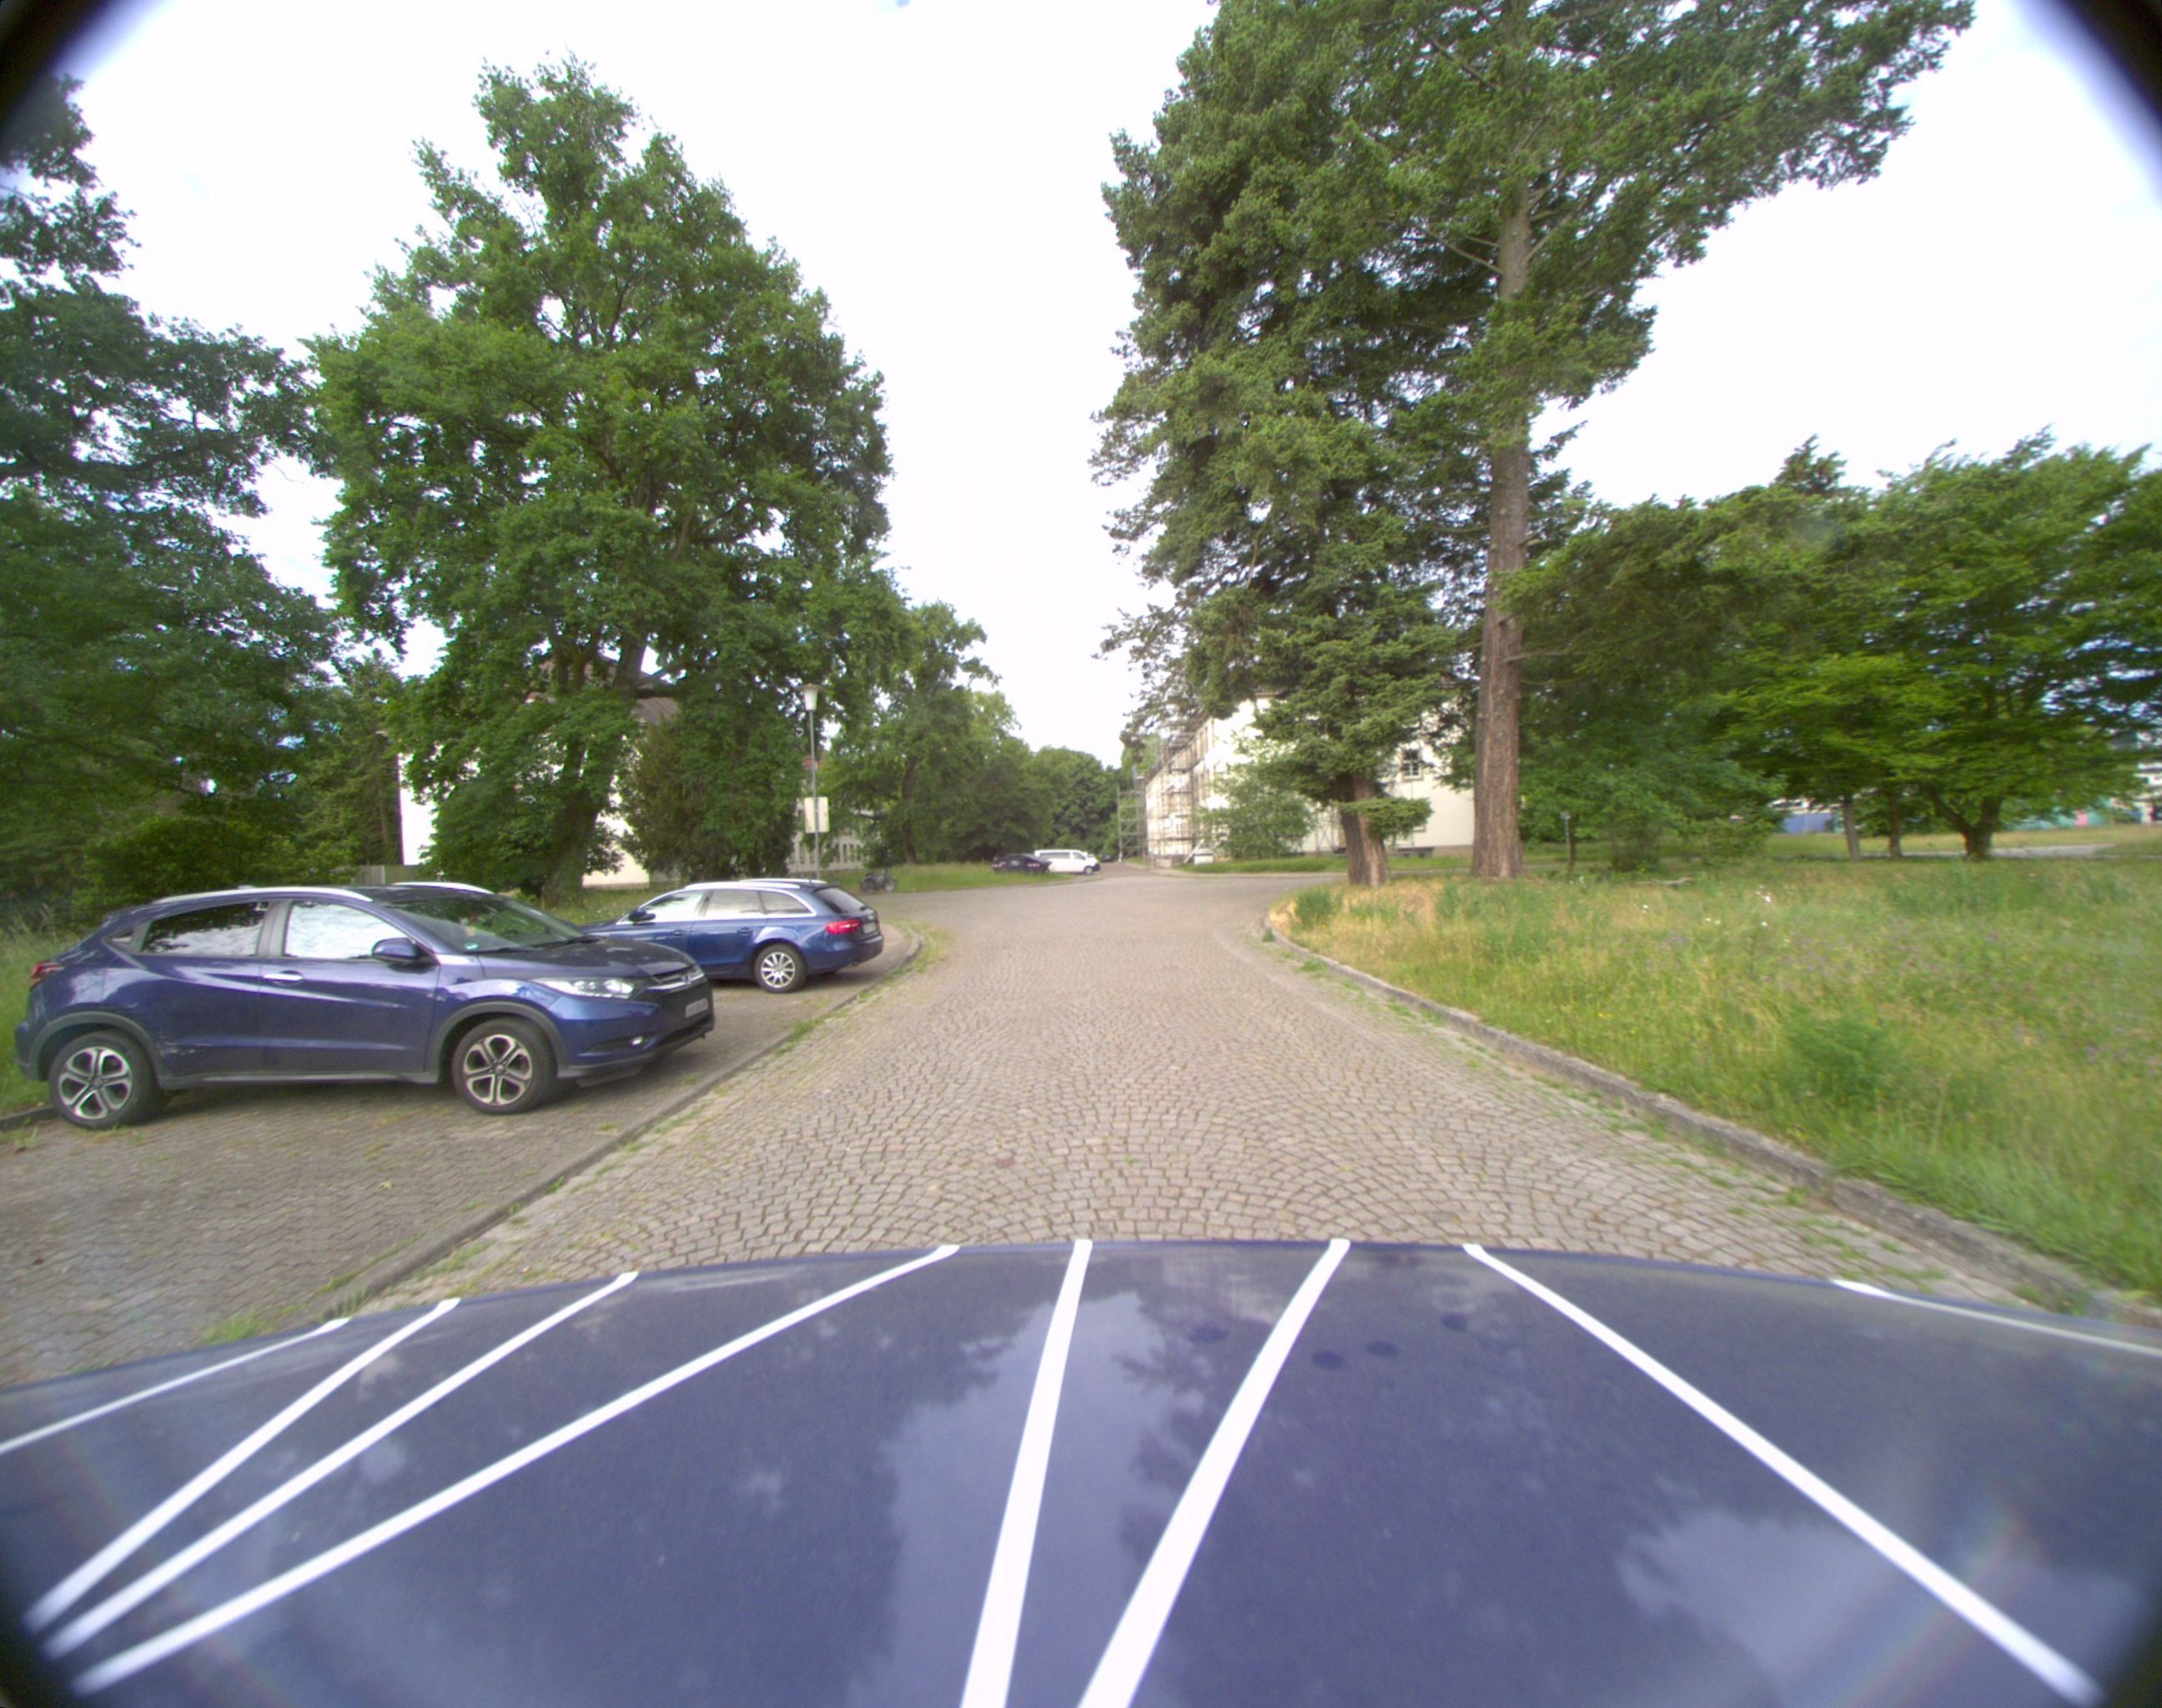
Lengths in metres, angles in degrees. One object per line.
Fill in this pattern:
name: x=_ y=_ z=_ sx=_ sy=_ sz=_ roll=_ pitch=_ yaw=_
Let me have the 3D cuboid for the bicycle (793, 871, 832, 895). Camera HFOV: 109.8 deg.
bicycle: x=-14.621 y=1.559 z=41.411 sx=1.862 sy=1.163 sz=0.487 roll=-3 pitch=1 yaw=-29

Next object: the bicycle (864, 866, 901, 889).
bicycle: x=-11.339 y=1.341 z=43.457 sx=1.941 sy=1.163 sz=0.487 roll=-5 pitch=1 yaw=-22

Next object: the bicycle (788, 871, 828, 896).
bicycle: x=-14.355 y=1.557 z=39.932 sx=1.862 sy=1.163 sz=0.487 roll=-3 pitch=1 yaw=-25

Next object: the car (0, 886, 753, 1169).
car: x=-5.102 y=1.163 z=5.869 sx=4.256 sy=1.613 sz=1.886 roll=-2 pitch=1 yaw=-1

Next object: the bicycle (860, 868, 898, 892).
bicycle: x=-11.404 y=1.443 z=42.847 sx=1.941 sy=1.163 sz=0.487 roll=-5 pitch=1 yaw=-22

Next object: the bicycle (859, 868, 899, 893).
bicycle: x=-10.807 y=1.426 z=40.597 sx=1.941 sy=1.163 sz=0.487 roll=-5 pitch=1 yaw=-25

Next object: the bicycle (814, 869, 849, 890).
bicycle: x=-14.423 y=1.479 z=43.931 sx=1.860 sy=1.163 sz=0.488 roll=-1 pitch=0 yaw=-9

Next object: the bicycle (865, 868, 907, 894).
bicycle: x=-10.182 y=1.393 z=39.677 sx=1.942 sy=1.163 sz=0.487 roll=-5 pitch=1 yaw=-27

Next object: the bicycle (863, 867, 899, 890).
bicycle: x=-11.768 y=1.448 z=44.699 sx=1.940 sy=1.163 sz=0.537 roll=-4 pitch=1 yaw=-16

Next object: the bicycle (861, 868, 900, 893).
bicycle: x=-10.866 y=1.424 z=41.211 sx=1.941 sy=1.163 sz=0.487 roll=-5 pitch=1 yaw=-25

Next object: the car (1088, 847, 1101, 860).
car: x=2.161 y=-0.094 z=125.557 sx=1.962 sy=2.002 sz=4.259 roll=-2 pitch=1 yaw=-1

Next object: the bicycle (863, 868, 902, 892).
bicycle: x=-10.961 y=1.422 z=41.991 sx=1.941 sy=1.163 sz=0.487 roll=-5 pitch=1 yaw=-22

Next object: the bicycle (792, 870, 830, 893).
bicycle: x=-15.205 y=1.546 z=42.804 sx=1.862 sy=1.163 sz=0.487 roll=-3 pitch=1 yaw=-29

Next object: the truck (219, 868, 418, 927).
truck: x=-35.137 y=1.991 z=35.135 sx=7.083 sy=2.352 sz=1.993 roll=-2 pitch=0 yaw=0

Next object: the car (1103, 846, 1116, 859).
car: x=4.696 y=-0.211 z=125.793 sx=1.962 sy=2.002 sz=4.259 roll=-2 pitch=1 yaw=-1

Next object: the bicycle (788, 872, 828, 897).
bicycle: x=-14.155 y=1.574 z=39.364 sx=1.862 sy=1.163 sz=0.487 roll=-3 pitch=1 yaw=-25

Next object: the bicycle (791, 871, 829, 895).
bicycle: x=-14.479 y=1.558 z=40.643 sx=1.861 sy=1.163 sz=0.487 roll=-3 pitch=1 yaw=-21

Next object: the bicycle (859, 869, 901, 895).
bicycle: x=-10.296 y=1.409 z=39.000 sx=1.942 sy=1.163 sz=0.487 roll=-5 pitch=1 yaw=-27

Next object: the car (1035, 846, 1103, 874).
car: x=-0.909 y=0.474 z=59.396 sx=5.149 sy=2.002 sz=2.000 roll=-2 pitch=1 yaw=0

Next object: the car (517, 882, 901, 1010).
car: x=-4.969 y=1.208 z=10.610 sx=4.367 sy=1.431 sz=1.927 roll=-2 pitch=0 yaw=2

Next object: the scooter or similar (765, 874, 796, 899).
scooter or similar: x=-15.246 y=1.659 z=38.586 sx=1.308 sy=1.163 sz=0.413 roll=-4 pitch=1 yaw=-1
